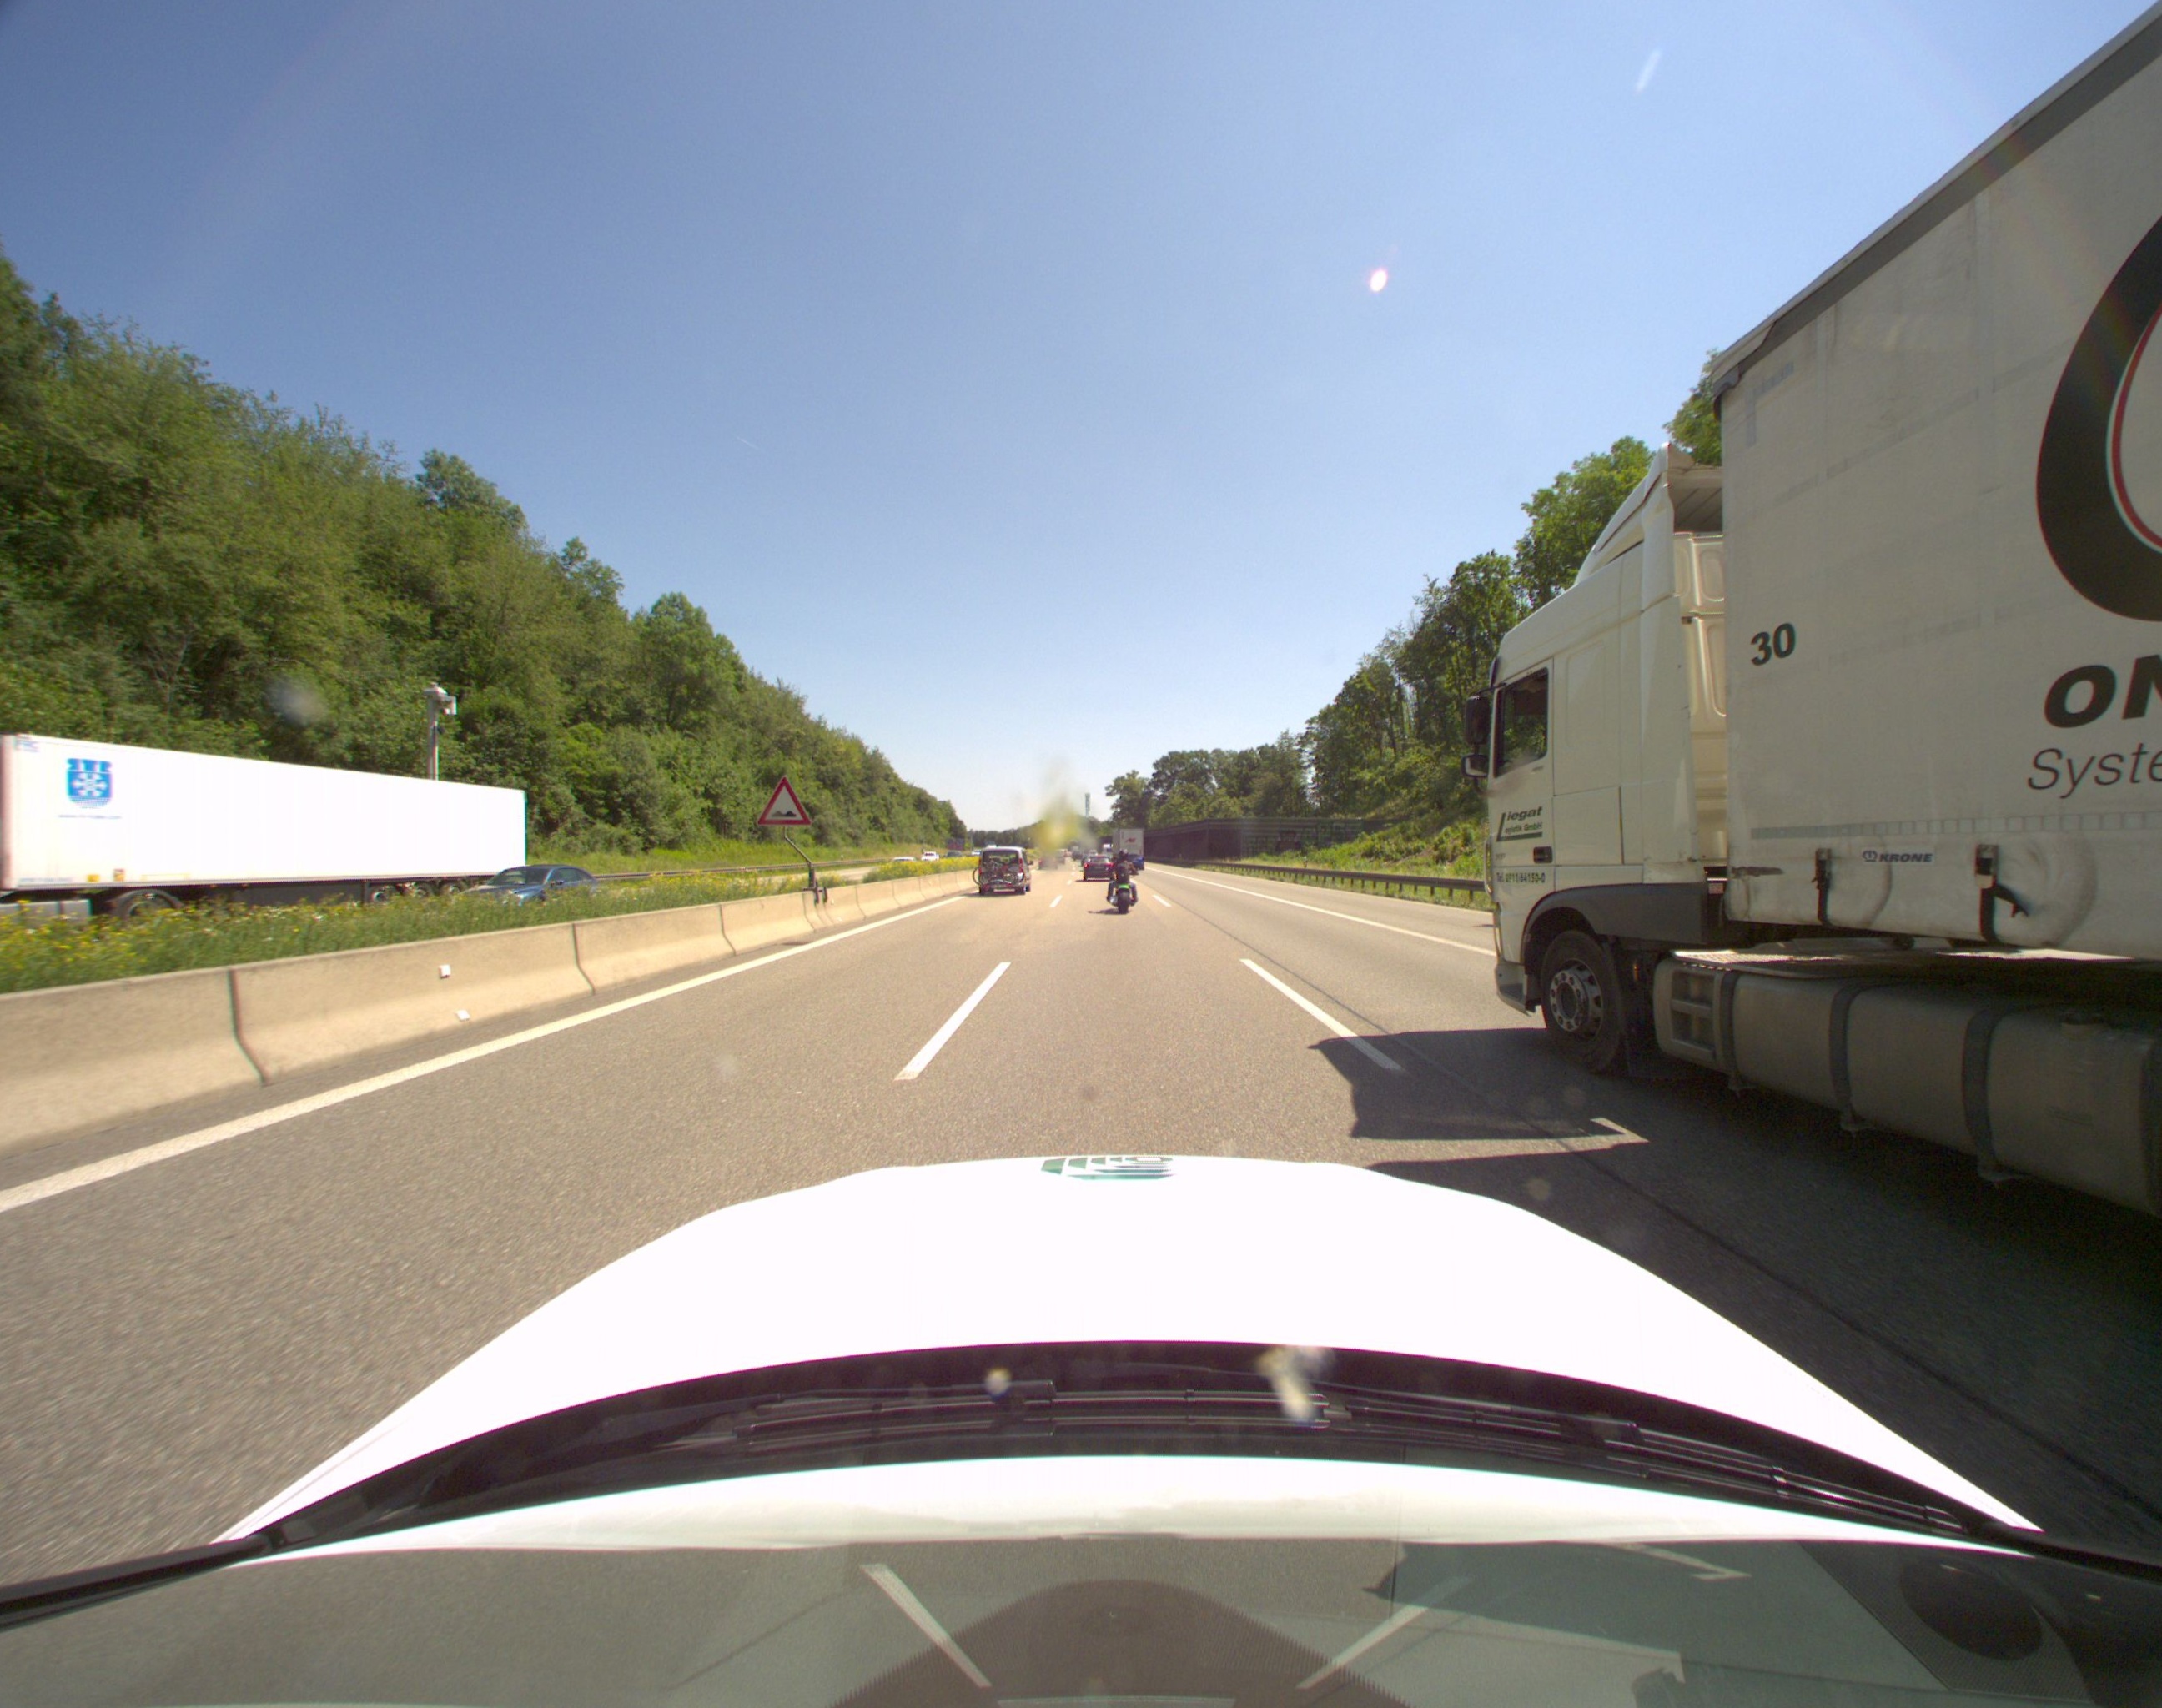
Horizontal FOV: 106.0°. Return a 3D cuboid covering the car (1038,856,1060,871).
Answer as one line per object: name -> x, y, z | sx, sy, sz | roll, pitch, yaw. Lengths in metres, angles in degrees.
car -> -3.036, 0.894, 78.312 | 1.988, 1.387, 3.997 | -1, -1, -2

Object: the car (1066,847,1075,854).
car -> -2.919, -0.866, 223.638 | 2.103, 1.876, 3.994 | -1, -1, -4

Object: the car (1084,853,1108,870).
car -> 1.263, 0.683, 70.482 | 1.987, 1.430, 3.846 | -1, -1, 0

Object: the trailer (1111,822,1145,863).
trailer -> 4.897, -1.217, 87.753 | 2.876, 4.038, 13.793 | -1, 0, 0

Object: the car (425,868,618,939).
car -> -13.812, 1.147, 20.439 | 1.986, 1.572, 4.001 | -1, -1, 1

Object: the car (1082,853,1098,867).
car -> 1.064, 0.722, 92.483 | 1.773, 1.552, 3.585 | -1, -1, 1

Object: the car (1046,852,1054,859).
car -> -7.440, 0.402, 194.771 | 1.827, 1.496, 3.741 | -1, -1, -2

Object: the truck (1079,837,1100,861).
truck -> 1.795, -0.977, 178.351 | 3.796, 4.960, 8.936 | -1, -1, -4

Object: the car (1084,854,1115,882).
car -> 0.993, 0.785, 45.737 | 1.657, 1.453, 3.868 | -1, -1, 0

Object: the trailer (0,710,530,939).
trailer -> -21.036, -0.444, 21.960 | 2.705, 4.208, 13.933 | -1, -1, 1

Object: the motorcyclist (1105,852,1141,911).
motorcyclist -> 1.109, 0.698, 21.340 | 0.896, 1.475, 1.874 | -1, -1, 3

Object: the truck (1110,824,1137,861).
truck -> 4.877, -1.268, 94.586 | 2.876, 4.146, 5.985 | -1, 0, 0

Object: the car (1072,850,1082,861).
car -> -0.796, 0.319, 157.110 | 1.907, 2.014, 3.687 | -1, -1, -2

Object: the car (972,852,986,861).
car -> -18.790, 0.525, 149.932 | 1.987, 1.616, 4.482 | -1, 0, -1

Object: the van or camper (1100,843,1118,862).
van or camper -> 4.328, -0.167, 125.517 | 2.675, 2.813, 6.804 | -1, -1, 1

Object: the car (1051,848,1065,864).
car -> -2.914, 0.300, 105.170 | 1.786, 2.014, 3.640 | -1, -1, -1

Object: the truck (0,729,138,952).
truck -> -21.160, -0.248, 14.464 | 2.680, 4.090, 5.203 | -1, -1, 1

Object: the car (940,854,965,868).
car -> -13.794, 0.780, 87.686 | 1.986, 1.486, 4.001 | -1, -1, 1

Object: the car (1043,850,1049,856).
car -> -10.306, -0.324, 239.117 | 1.829, 1.496, 3.738 | -1, -1, -4

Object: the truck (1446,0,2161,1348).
truck -> 4.578, -0.695, 4.321 | 2.776, 4.204, 5.871 | 0, 1, 1

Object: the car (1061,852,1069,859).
car -> -3.836, 0.355, 198.461 | 1.827, 1.496, 3.741 | -1, -1, -2

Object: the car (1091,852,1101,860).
car -> 2.962, 0.364, 166.060 | 1.987, 1.574, 3.999 | -1, -1, 0

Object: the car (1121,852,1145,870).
car -> 4.603, 0.628, 73.030 | 1.647, 1.483, 4.476 | -1, -1, -3

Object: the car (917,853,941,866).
car -> -17.868, 0.671, 96.011 | 1.987, 1.442, 4.171 | -1, -1, 0

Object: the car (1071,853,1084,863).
car -> -0.591, 0.701, 132.340 | 1.988, 1.640, 3.997 | -1, -1, -2

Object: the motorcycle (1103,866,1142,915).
motorcycle -> 1.104, 0.924, 21.588 | 0.960, 1.148, 2.814 | 0, 0, 3

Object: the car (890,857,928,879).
car -> -11.140, 0.878, 52.887 | 1.618, 1.386, 4.137 | -1, 0, 0

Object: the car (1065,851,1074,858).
car -> -2.572, 0.052, 176.284 | 1.827, 1.496, 3.741 | -1, -1, -2

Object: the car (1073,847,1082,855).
car -> -1.028, -0.806, 218.069 | 2.103, 1.876, 3.994 | -1, -1, -4

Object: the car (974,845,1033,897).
car -> -2.940, 0.642, 31.576 | 1.893, 1.873, 4.410 | -1, -1, -1
